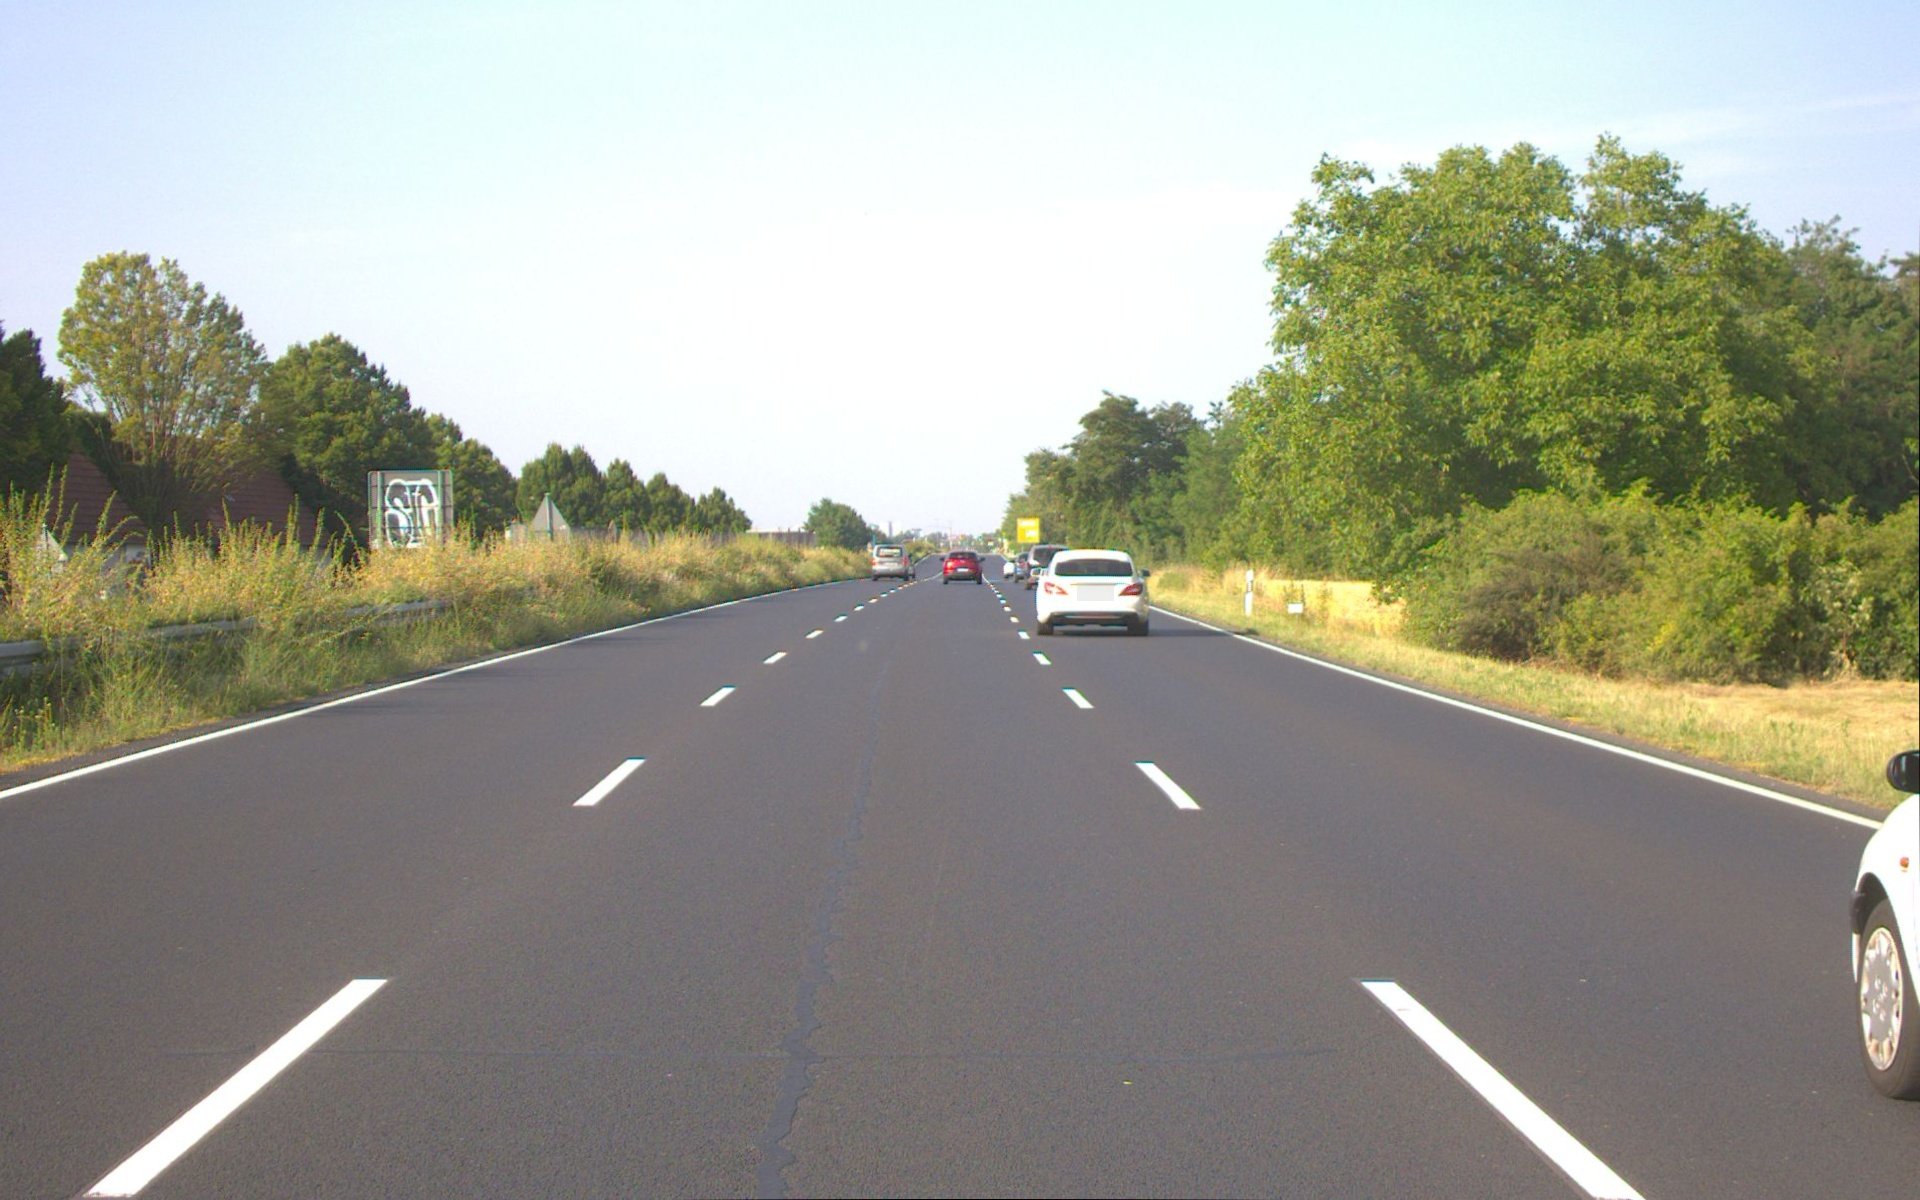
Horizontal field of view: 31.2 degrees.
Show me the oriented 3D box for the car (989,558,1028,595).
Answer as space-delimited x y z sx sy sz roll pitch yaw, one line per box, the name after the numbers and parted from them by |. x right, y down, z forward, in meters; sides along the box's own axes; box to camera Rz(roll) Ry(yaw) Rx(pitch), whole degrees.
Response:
2.315 -1.112 165.301 1.834 1.711 3.862 1 0 0 | car

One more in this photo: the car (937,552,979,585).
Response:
-0.117 -1.400 153.233 1.812 1.431 3.858 1 0 -1 | car

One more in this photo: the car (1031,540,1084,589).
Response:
3.605 -1.304 127.485 1.828 1.722 4.000 1 0 0 | car

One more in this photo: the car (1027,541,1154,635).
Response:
2.176 -0.202 58.397 1.993 1.511 4.000 1 0 0 | car

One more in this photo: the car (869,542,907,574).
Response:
-3.710 -2.163 177.644 1.758 1.612 4.000 1 0 2 | car

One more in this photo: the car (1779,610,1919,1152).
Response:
3.280 0.733 8.303 1.617 1.382 3.951 1 0 0 | car
